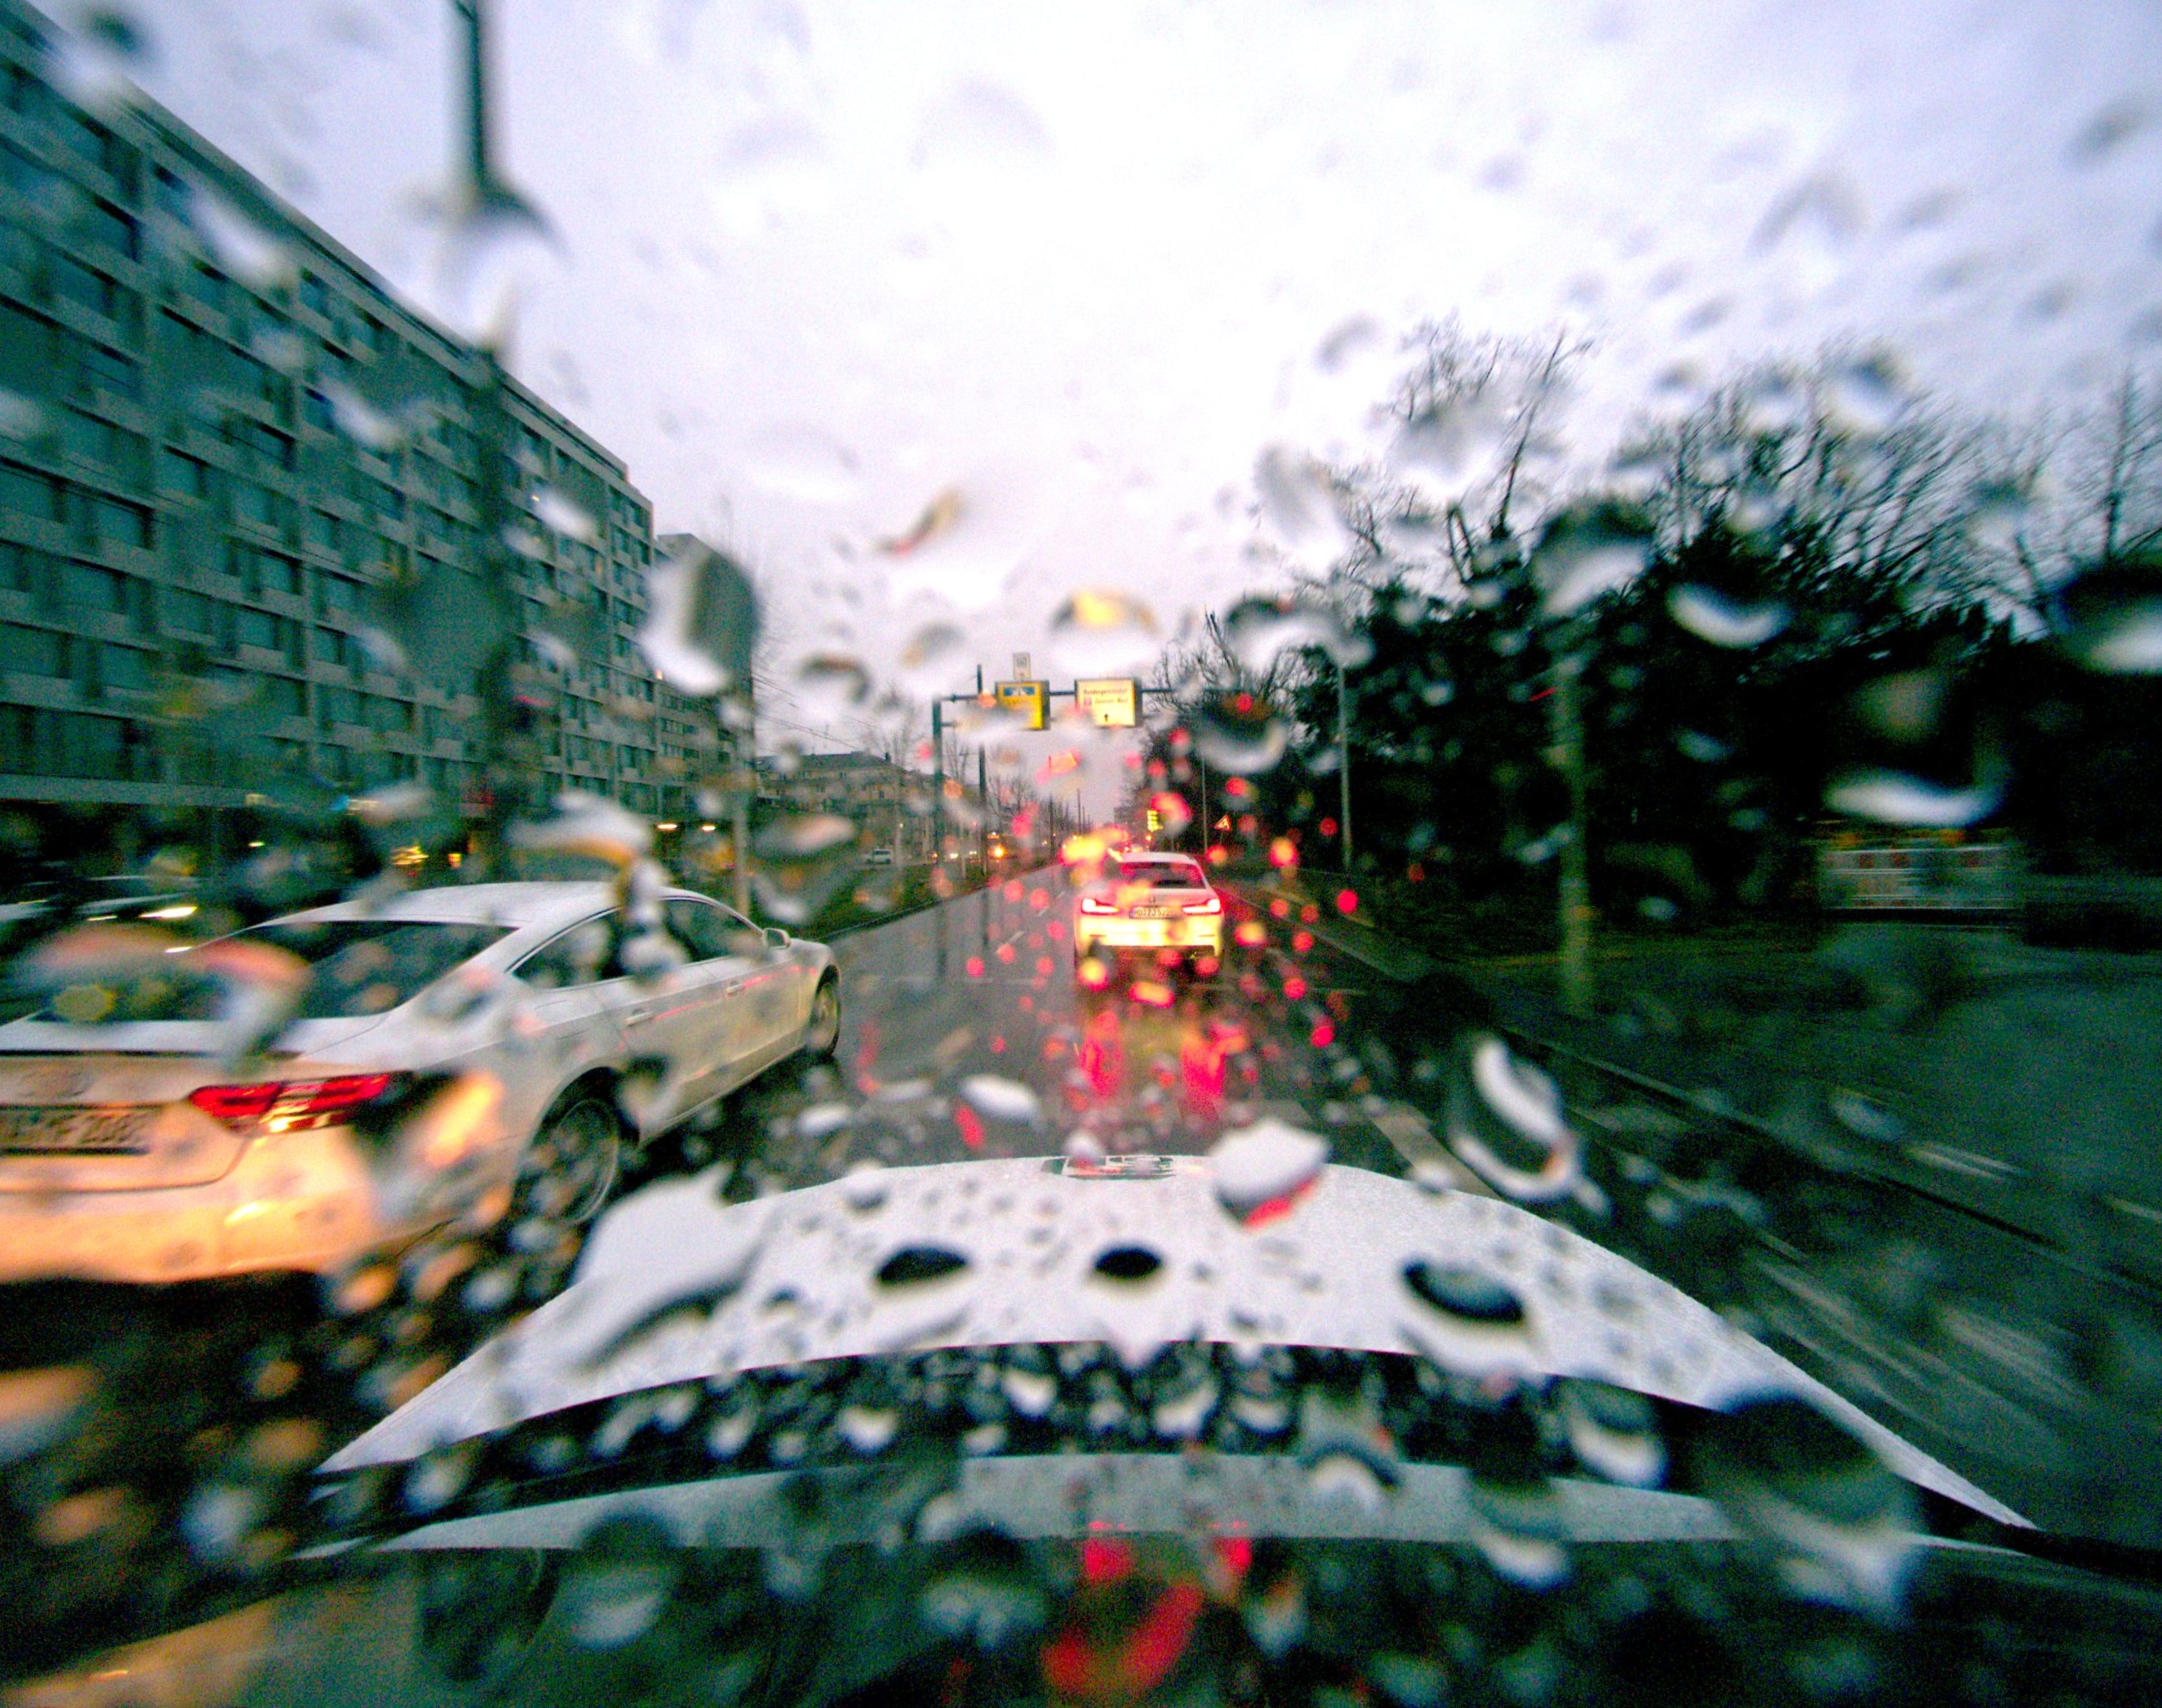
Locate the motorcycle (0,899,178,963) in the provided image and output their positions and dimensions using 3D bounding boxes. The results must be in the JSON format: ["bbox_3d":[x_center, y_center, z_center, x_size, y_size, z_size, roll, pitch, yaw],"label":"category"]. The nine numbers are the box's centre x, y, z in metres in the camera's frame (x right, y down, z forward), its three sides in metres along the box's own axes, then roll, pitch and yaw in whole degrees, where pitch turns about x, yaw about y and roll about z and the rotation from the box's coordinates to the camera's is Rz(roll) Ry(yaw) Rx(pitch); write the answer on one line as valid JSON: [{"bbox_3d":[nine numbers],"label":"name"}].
[{"bbox_3d":[-21.107,1.564,17.109,0.867,1.056,2.968,0,0,2],"label":"motorcycle"}]

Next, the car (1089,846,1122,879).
[{"bbox_3d":[1.587,0.515,52.378,1.986,2.013,4.002,0,0,2],"label":"car"}]

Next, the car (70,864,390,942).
[{"bbox_3d":[-19.362,1.026,19.012,1.986,1.462,5.098,0,0,2],"label":"car"}]

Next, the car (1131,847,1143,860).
[{"bbox_3d":[9.259,-0.103,134.812,1.986,2.013,4.002,0,0,2],"label":"car"}]

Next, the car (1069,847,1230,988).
[{"bbox_3d":[0.733,0.692,11.198,1.755,1.552,4.249,-1,0,-2],"label":"car"}]

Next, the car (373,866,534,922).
[{"bbox_3d":[-19.463,1.162,25.610,1.995,1.462,5.073,-1,0,-12],"label":"car"}]

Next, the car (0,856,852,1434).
[{"bbox_3d":[-2.733,0.774,4.263,1.753,1.469,4.253,0,0,1],"label":"car"}]

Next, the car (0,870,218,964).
[{"bbox_3d":[-22.843,1.336,18.312,1.874,1.789,4.601,0,0,2],"label":"car"}]

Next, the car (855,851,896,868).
[{"bbox_3d":[-27.547,0.721,109.240,4.909,2.013,1.977,-2,1,-40],"label":"car"}]

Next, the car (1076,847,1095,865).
[{"bbox_3d":[0.502,0.168,92.551,1.986,2.013,4.002,0,0,2],"label":"car"}]

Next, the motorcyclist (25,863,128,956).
[{"bbox_3d":[-21.117,1.137,17.144,0.867,1.885,1.034,0,0,2],"label":"motorcyclist"}]

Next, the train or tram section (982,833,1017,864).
[{"bbox_3d":[-9.854,-0.696,99.150,2.831,3.504,9.162,-3,0,2],"label":"train or tram section"}]
